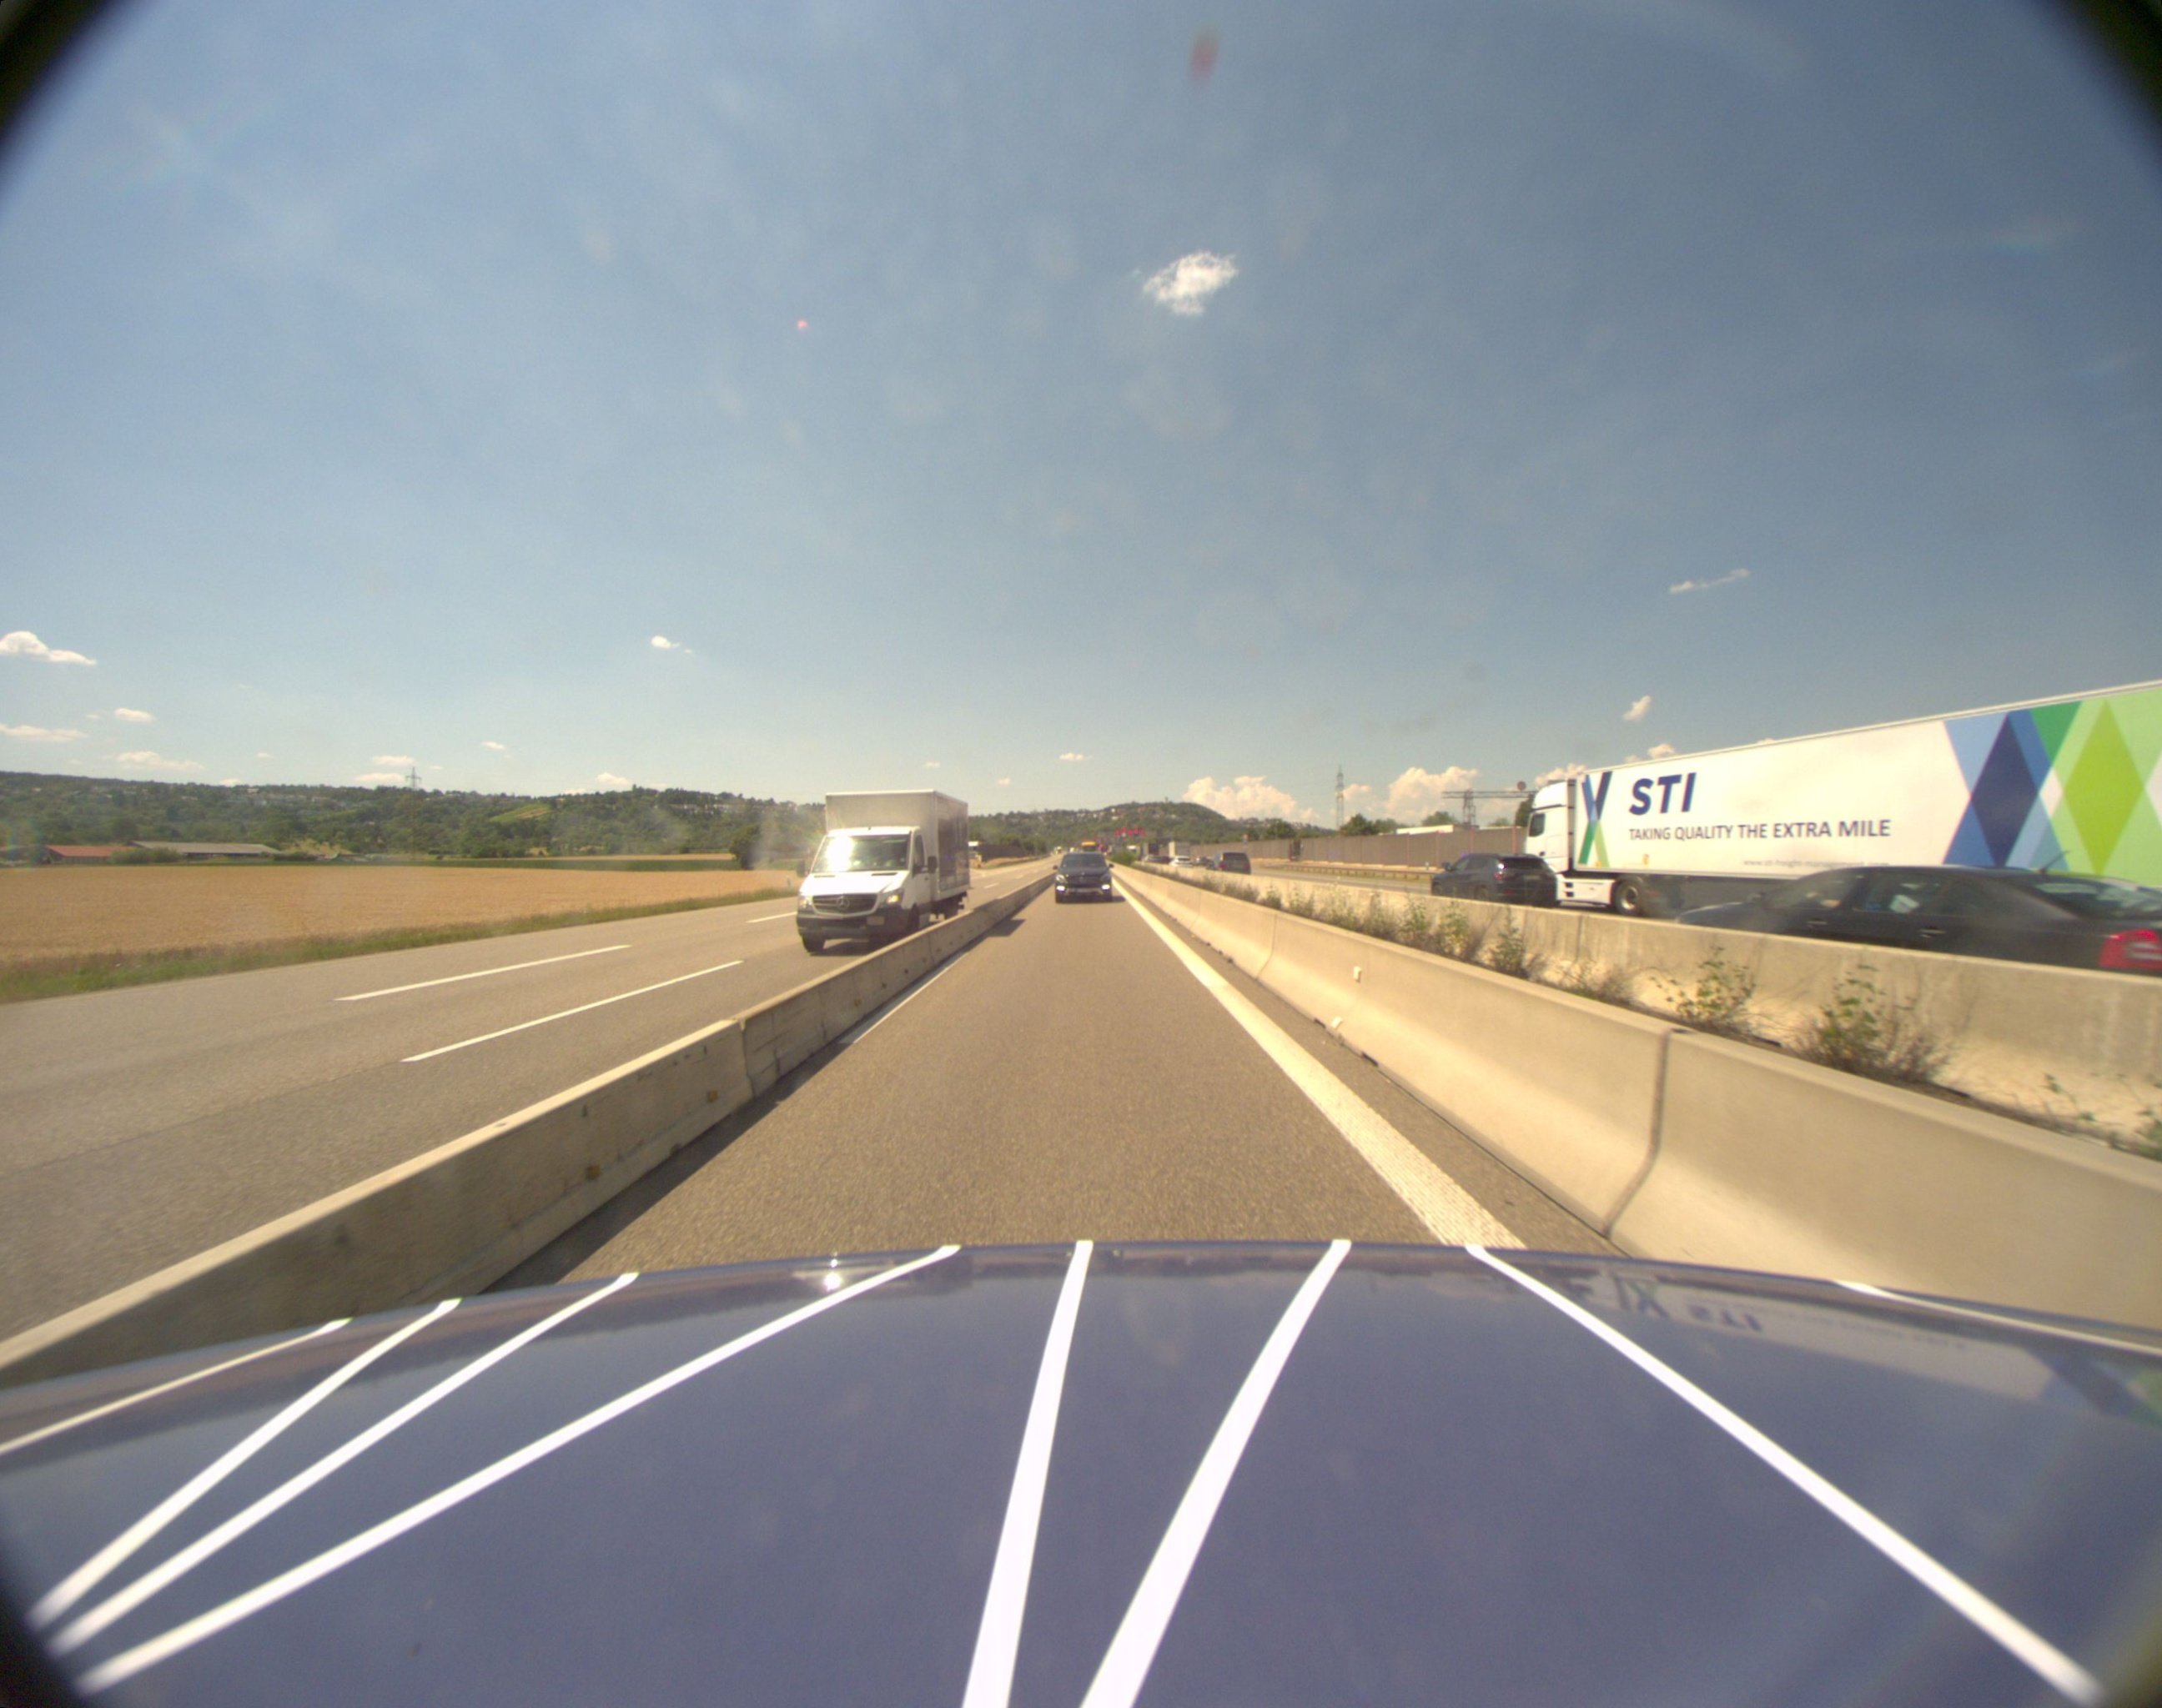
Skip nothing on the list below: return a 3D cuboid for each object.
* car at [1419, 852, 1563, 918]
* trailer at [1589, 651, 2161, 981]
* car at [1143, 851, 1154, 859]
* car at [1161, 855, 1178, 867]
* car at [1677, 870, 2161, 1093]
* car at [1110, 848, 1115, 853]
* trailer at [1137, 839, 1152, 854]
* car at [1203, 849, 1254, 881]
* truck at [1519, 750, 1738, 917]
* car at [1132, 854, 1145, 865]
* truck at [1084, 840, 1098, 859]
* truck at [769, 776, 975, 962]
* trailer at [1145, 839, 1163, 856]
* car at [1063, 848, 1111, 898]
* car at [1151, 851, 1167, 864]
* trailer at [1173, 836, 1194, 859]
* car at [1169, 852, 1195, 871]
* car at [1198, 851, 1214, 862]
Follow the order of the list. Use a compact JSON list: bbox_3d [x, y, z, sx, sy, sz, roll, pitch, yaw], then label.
[{"bbox_3d":[11.513,0.794,21.768,1.659,1.642,4.665,-1,0,1],"label":"car"},{"bbox_3d":[15.734,-0.501,14.878,2.900,4.349,12.993,1,0,1],"label":"trailer"},{"bbox_3d":[13.224,0.138,149.942,1.795,1.422,5.104,-2,2,1],"label":"car"},{"bbox_3d":[13.325,1.025,114.589,1.998,1.749,4.000,-1,0,1],"label":"car"},{"bbox_3d":[7.970,0.881,7.001,1.659,1.344,4.267,-1,0,1],"label":"car"},{"bbox_3d":[10.609,-1.071,254.119,1.515,1.530,3.183,-1,1,1],"label":"car"},{"bbox_3d":[18.558,-2.229,222.232,3.263,4.033,14.388,-2,1,1],"label":"trailer"},{"bbox_3d":[8.100,0.566,42.086,1.895,1.608,4.820,-1,0,1],"label":"car"},{"bbox_3d":[15.810,-0.537,22.444,2.878,4.349,4.903,1,0,1],"label":"truck"},{"bbox_3d":[10.001,0.913,131.543,1.998,1.749,4.644,-1,0,1],"label":"car"},{"bbox_3d":[1.713,-0.854,132.873,2.272,3.139,8.186,-2,1,1],"label":"truck"},{"bbox_3d":[-3.988,0.288,16.163,2.326,3.049,6.751,-2,0,1],"label":"truck"},{"bbox_3d":[18.188,-1.612,190.152,2.991,4.043,15.162,-1,1,1],"label":"trailer"},{"bbox_3d":[0.265,0.696,29.148,1.630,1.711,3.865,-2,0,1],"label":"car"},{"bbox_3d":[9.991,0.453,98.035,1.659,1.510,4.000,-1,1,1],"label":"car"},{"bbox_3d":[17.278,-1.083,128.723,2.654,3.851,6.616,0,1,1],"label":"trailer"},{"bbox_3d":[8.768,0.653,66.396,1.679,1.510,4.507,-1,1,1],"label":"car"},{"bbox_3d":[17.679,0.386,107.869,1.659,1.510,4.000,-1,1,1],"label":"car"}]
